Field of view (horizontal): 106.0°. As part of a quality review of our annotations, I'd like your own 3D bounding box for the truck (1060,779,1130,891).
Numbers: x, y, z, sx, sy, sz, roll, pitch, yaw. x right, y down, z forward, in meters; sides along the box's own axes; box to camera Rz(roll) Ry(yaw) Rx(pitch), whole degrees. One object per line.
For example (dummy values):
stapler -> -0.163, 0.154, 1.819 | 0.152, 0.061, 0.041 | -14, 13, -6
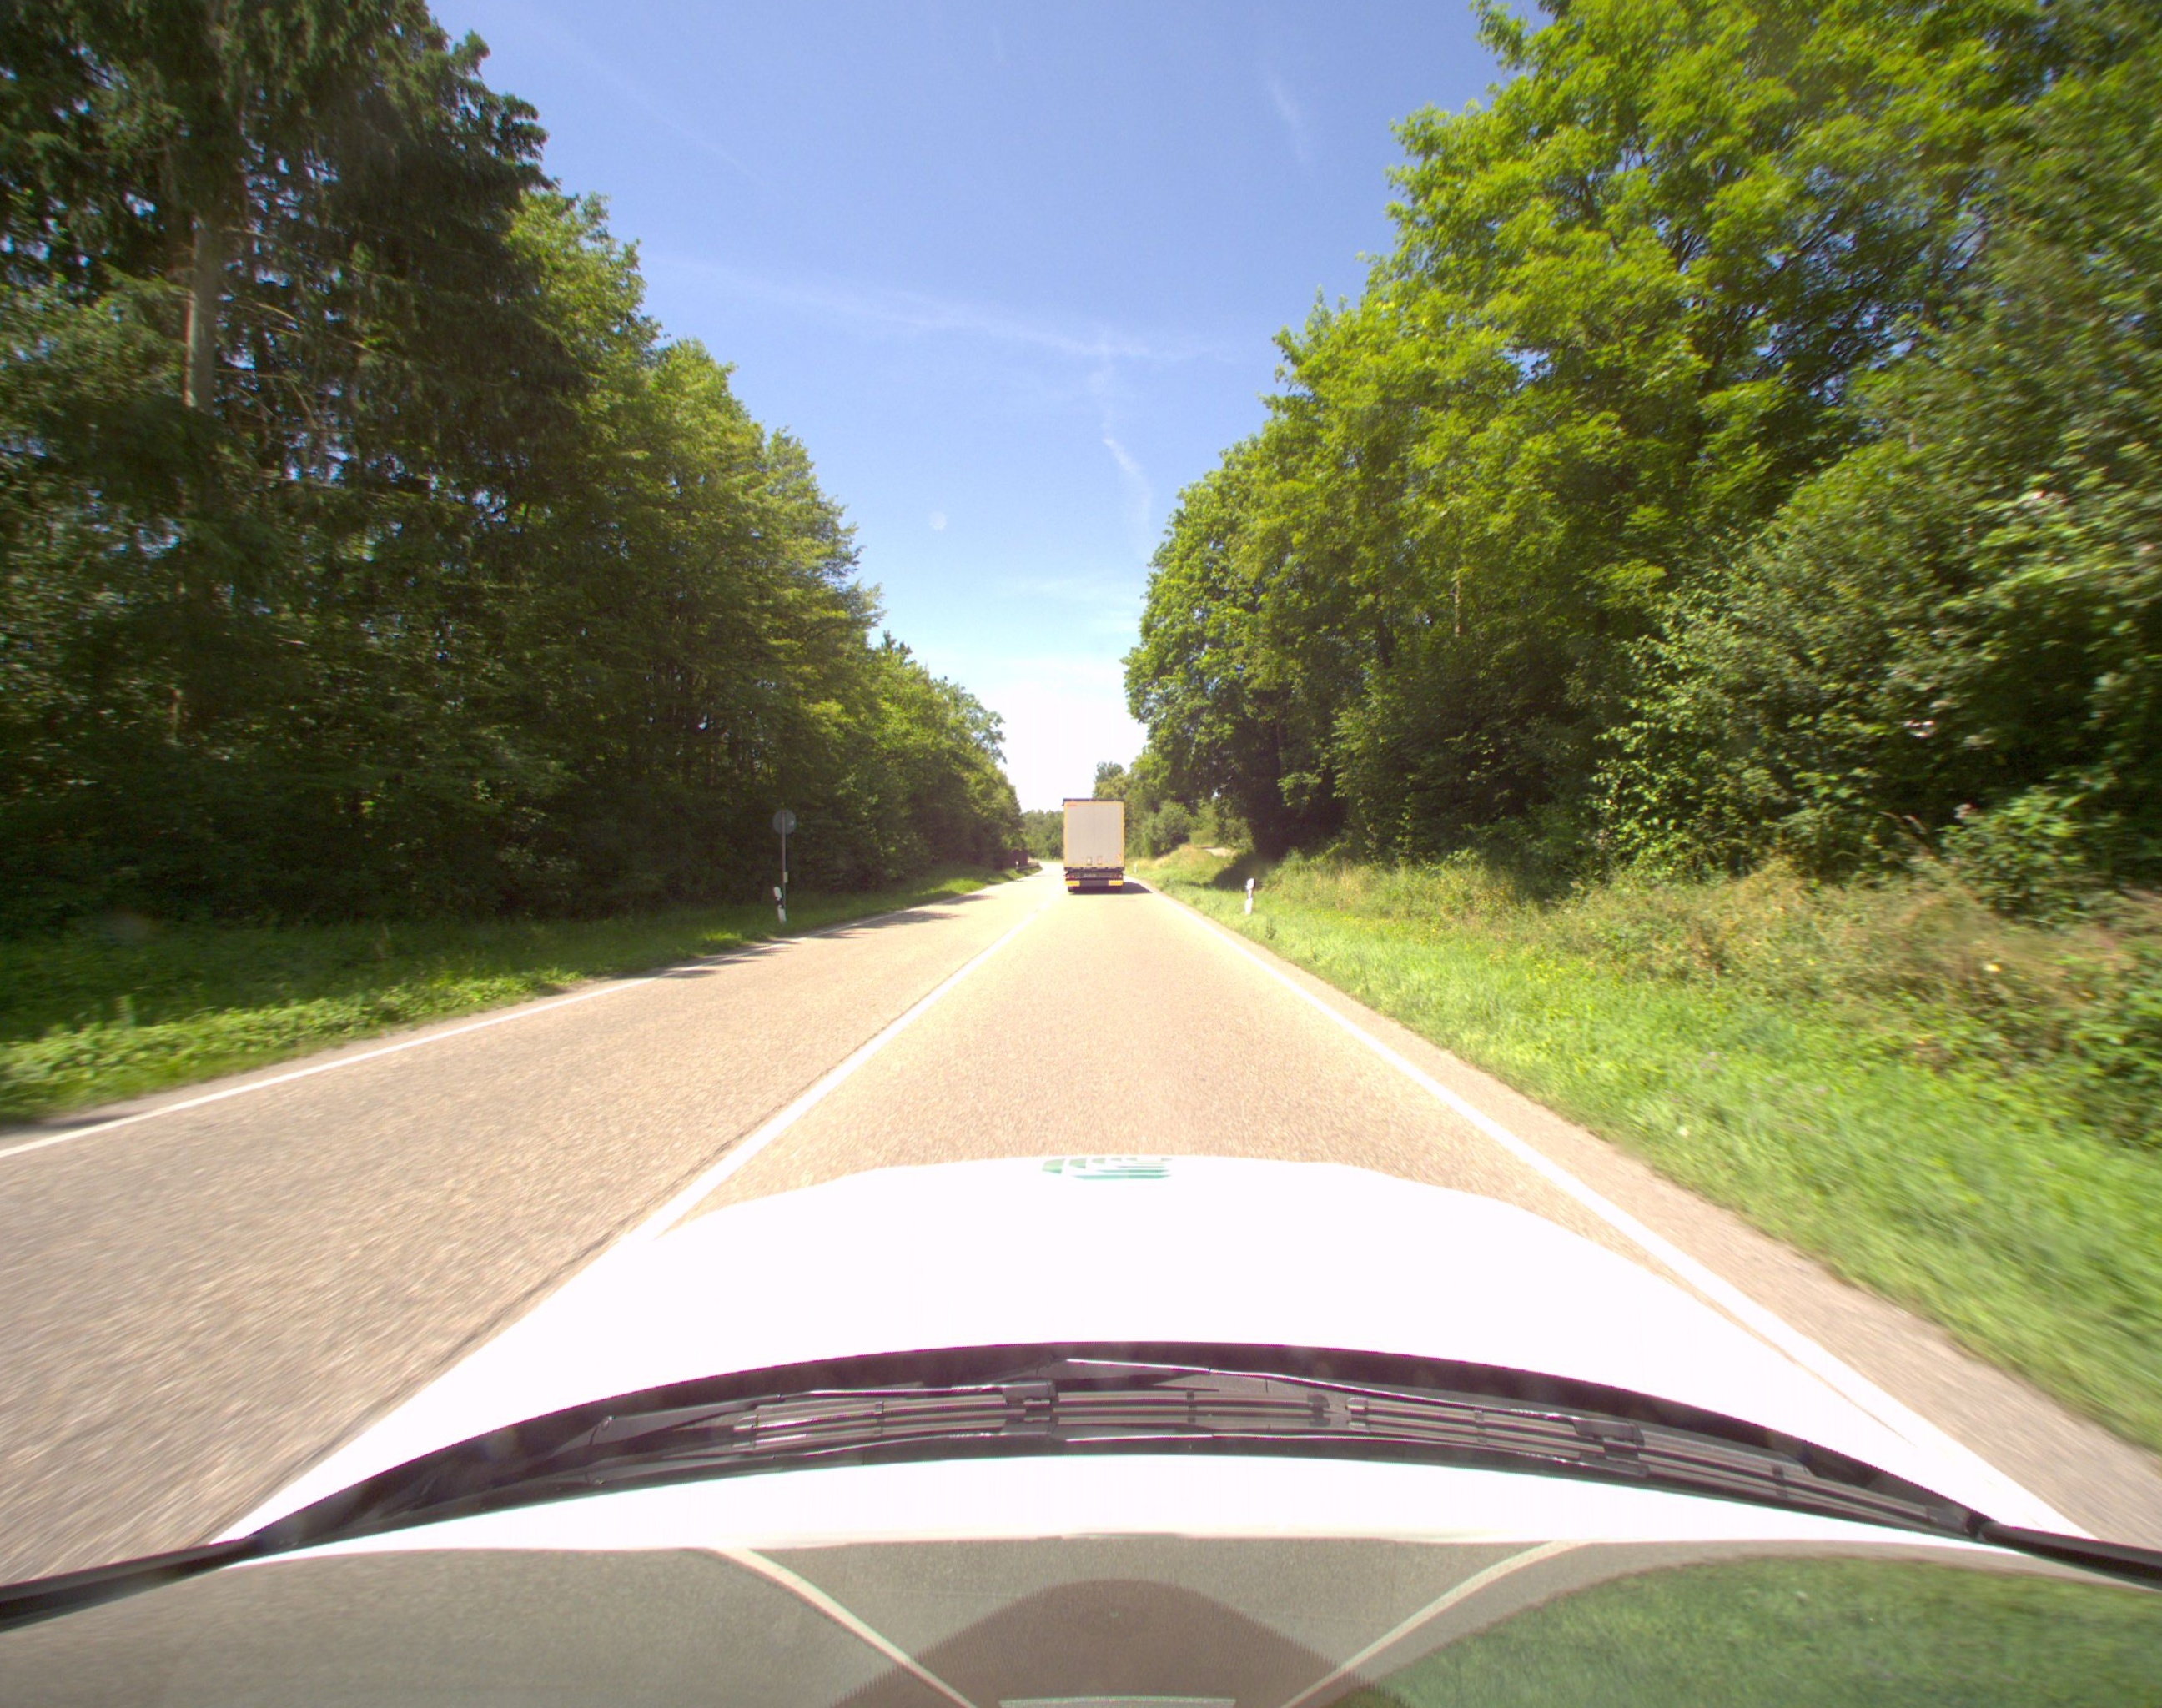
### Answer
truck -> 0.740, -0.718, 36.828 | 2.811, 4.604, 6.670 | -1, -1, 3
